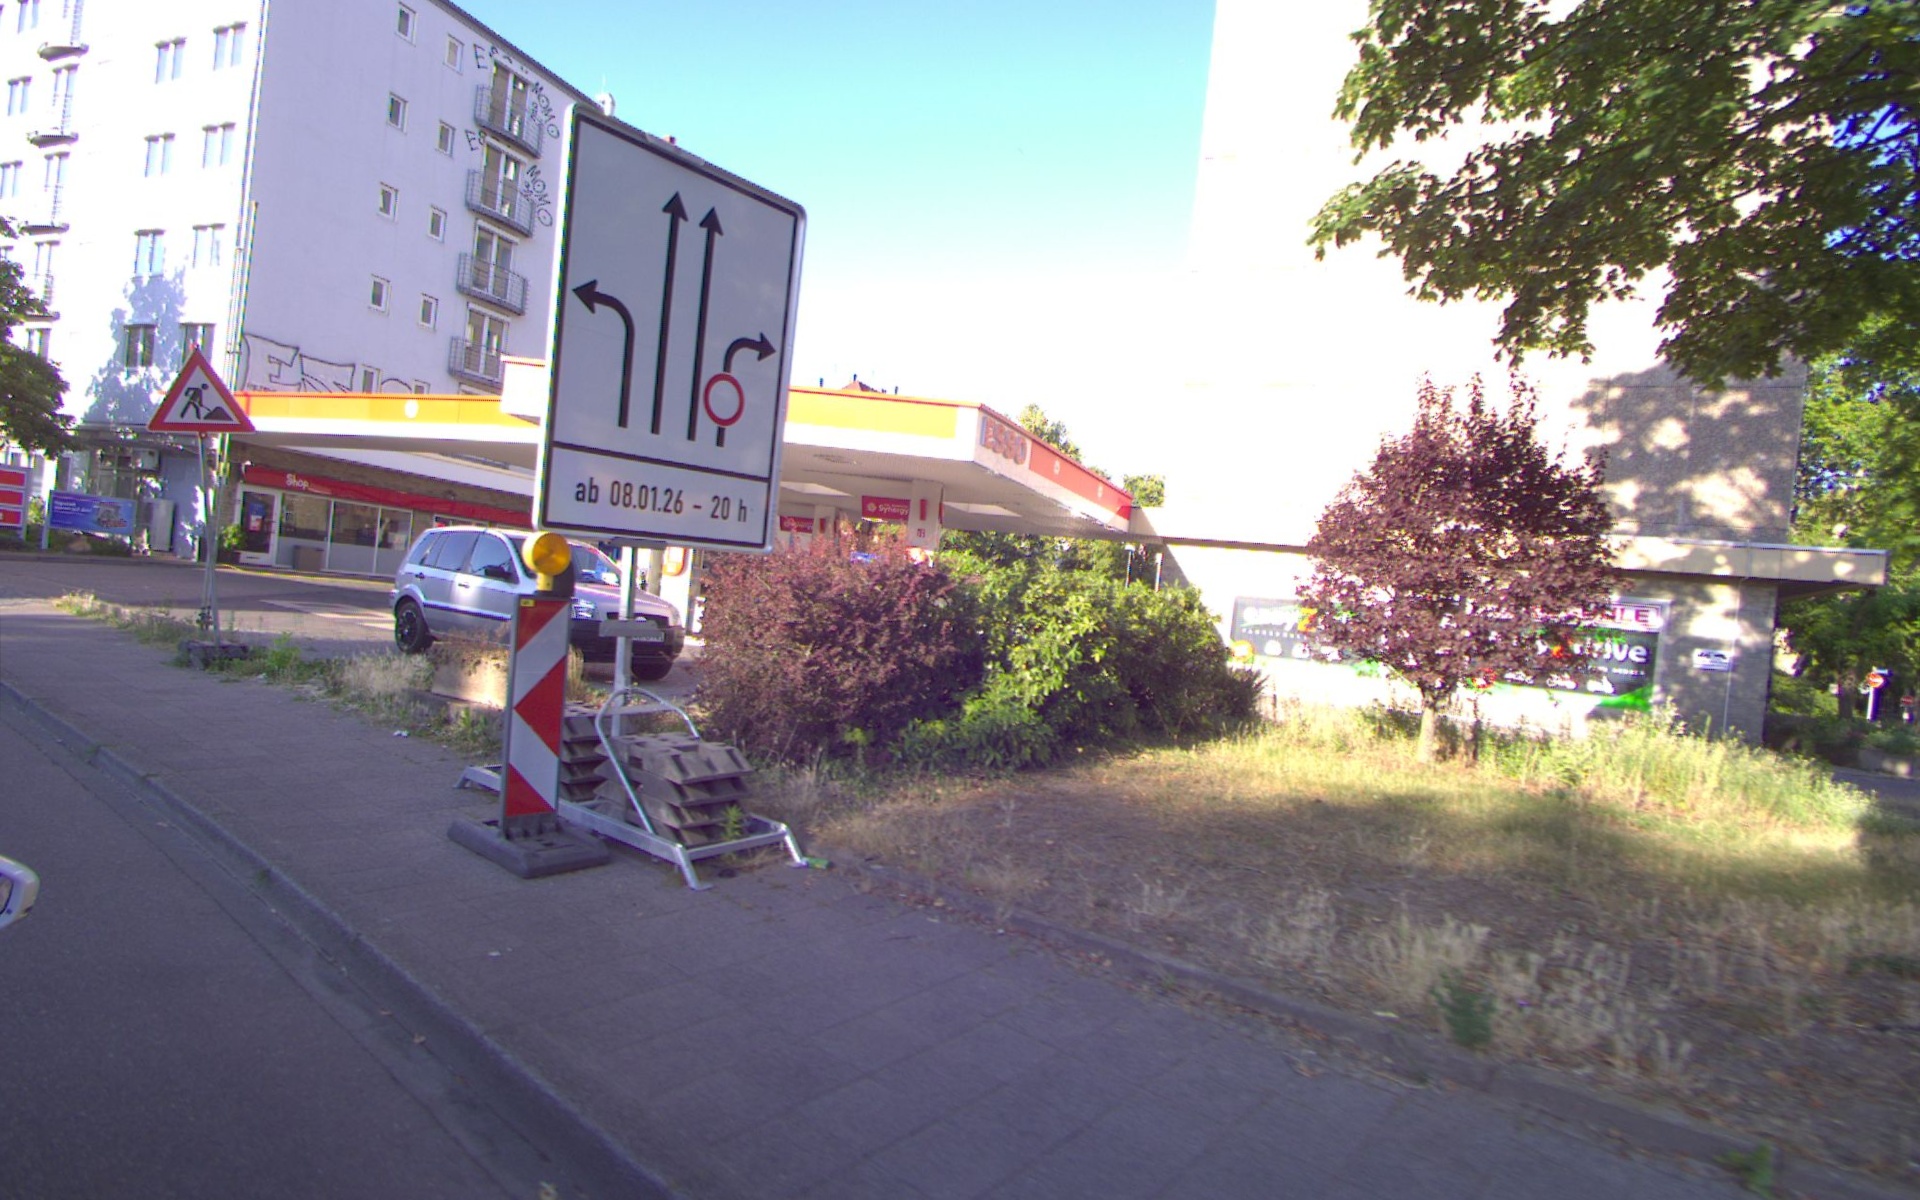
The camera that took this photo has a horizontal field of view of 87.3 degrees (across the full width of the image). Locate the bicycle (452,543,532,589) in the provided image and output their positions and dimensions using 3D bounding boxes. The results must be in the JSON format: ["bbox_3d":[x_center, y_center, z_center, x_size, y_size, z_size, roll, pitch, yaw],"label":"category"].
[{"bbox_3d":[-16.642,-1.188,35.842,0.518,1.330,2.810,6,0,25],"label":"bicycle"}]

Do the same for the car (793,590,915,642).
[{"bbox_3d":[-4.006,0.594,38.028,4.181,1.438,1.749,6,0,26],"label":"car"}]

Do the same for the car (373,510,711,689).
[{"bbox_3d":[-4.837,-0.038,11.486,3.832,1.613,1.620,6,0,34],"label":"car"}]

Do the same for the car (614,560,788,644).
[{"bbox_3d":[-5.599,0.046,22.004,3.240,1.457,1.590,6,0,3],"label":"car"}]
